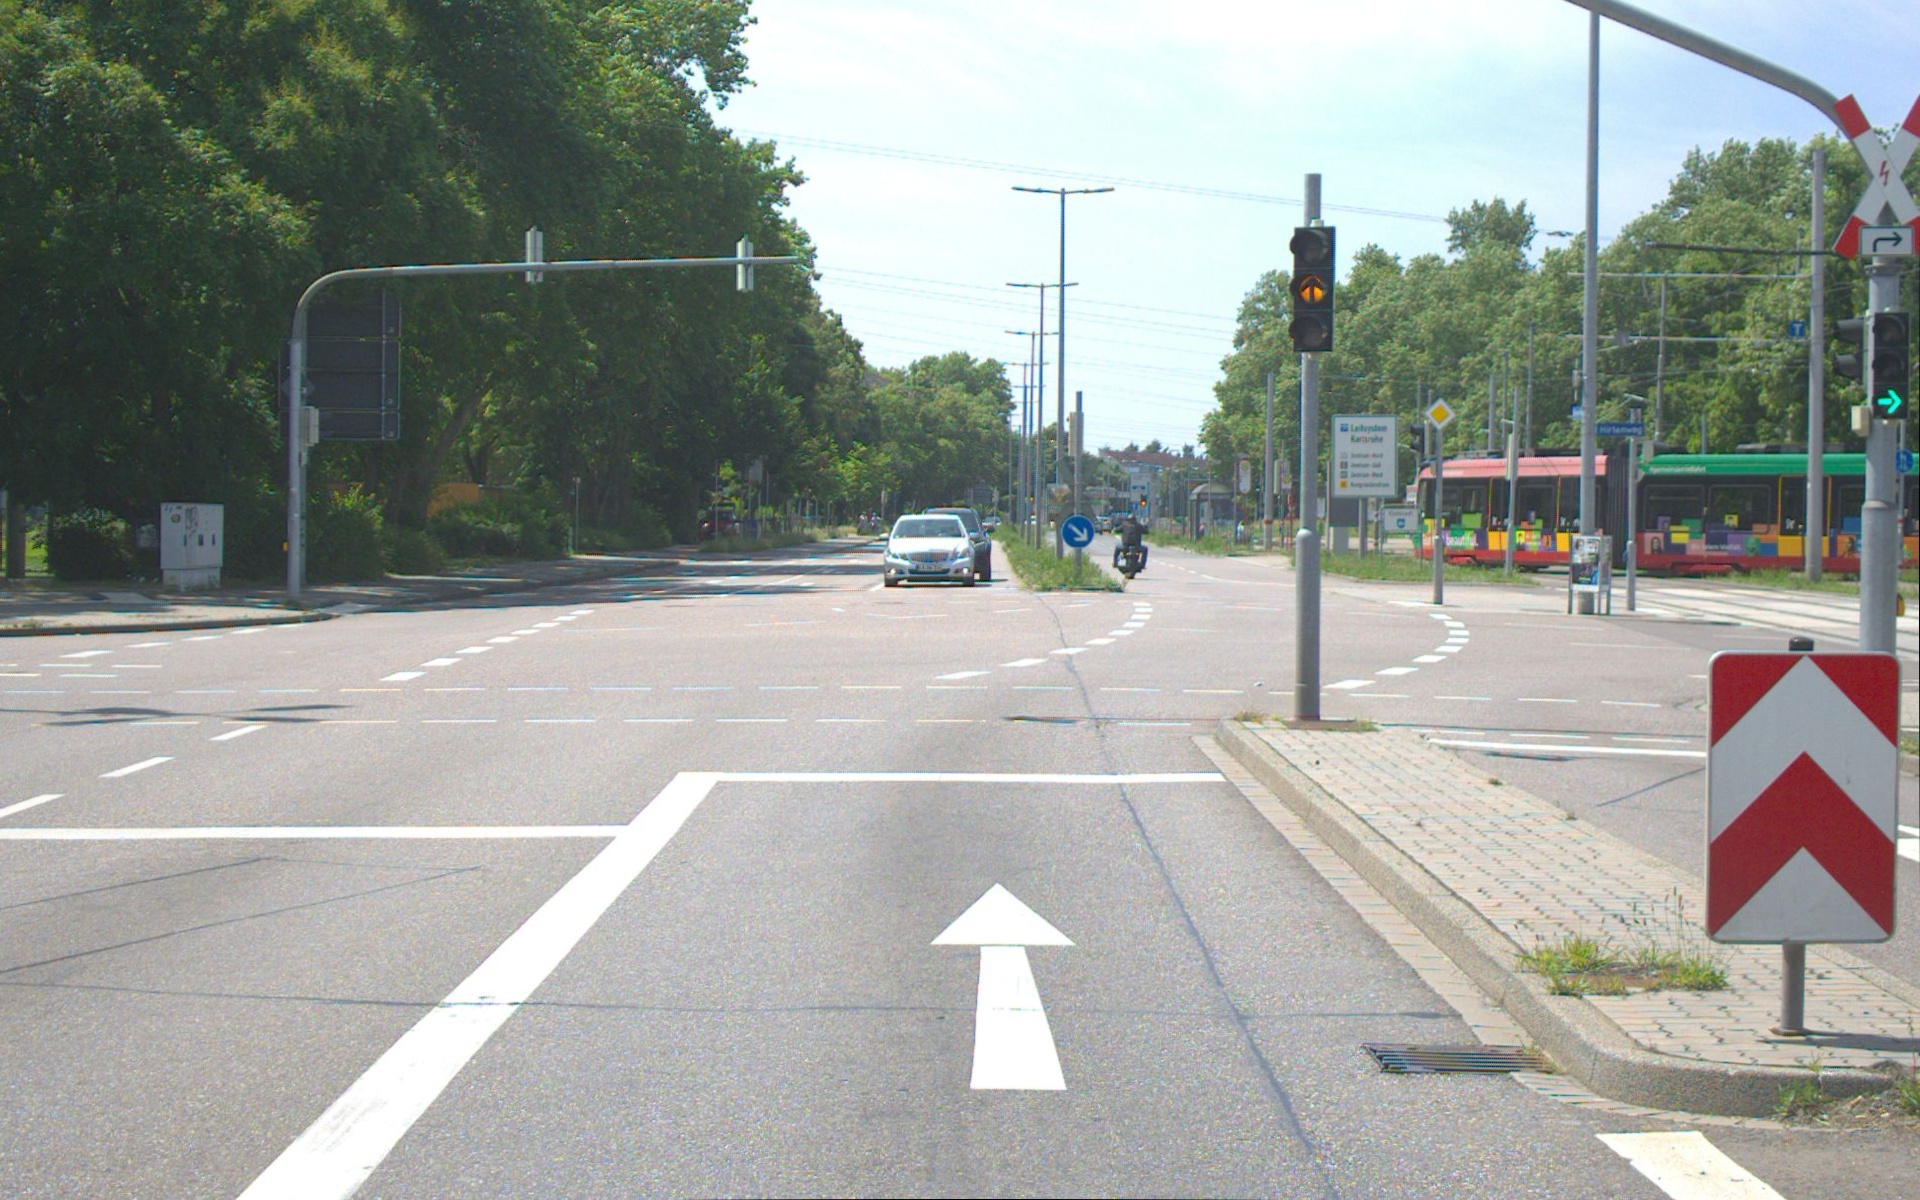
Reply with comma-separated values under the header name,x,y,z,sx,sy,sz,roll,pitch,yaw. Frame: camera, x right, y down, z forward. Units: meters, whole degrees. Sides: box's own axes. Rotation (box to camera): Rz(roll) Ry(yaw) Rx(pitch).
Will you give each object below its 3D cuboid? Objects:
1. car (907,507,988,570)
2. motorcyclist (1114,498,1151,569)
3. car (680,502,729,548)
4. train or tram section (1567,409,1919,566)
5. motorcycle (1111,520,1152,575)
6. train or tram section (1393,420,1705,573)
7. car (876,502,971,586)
name,x,y,z,sx,sy,sz,roll,pitch,yaw
car,-0.257,-1.408,77.542,1.710,1.361,3.865,1,2,1
motorcyclist,4.100,-1.587,81.889,0.790,1.637,1.211,2,1,1
car,-11.967,-3.521,161.095,1.993,2.007,4.001,4,1,-2
train or tram section,22.328,-2.864,89.881,2.915,3.799,13.448,3,-2,-44
motorcycle,4.088,-1.269,82.090,0.847,1.251,2.449,2,2,1
train or tram section,16.756,-2.842,99.341,2.913,3.799,13.078,2,-1,-19
car,-0.715,-1.165,70.058,1.784,1.623,3.865,1,2,1
